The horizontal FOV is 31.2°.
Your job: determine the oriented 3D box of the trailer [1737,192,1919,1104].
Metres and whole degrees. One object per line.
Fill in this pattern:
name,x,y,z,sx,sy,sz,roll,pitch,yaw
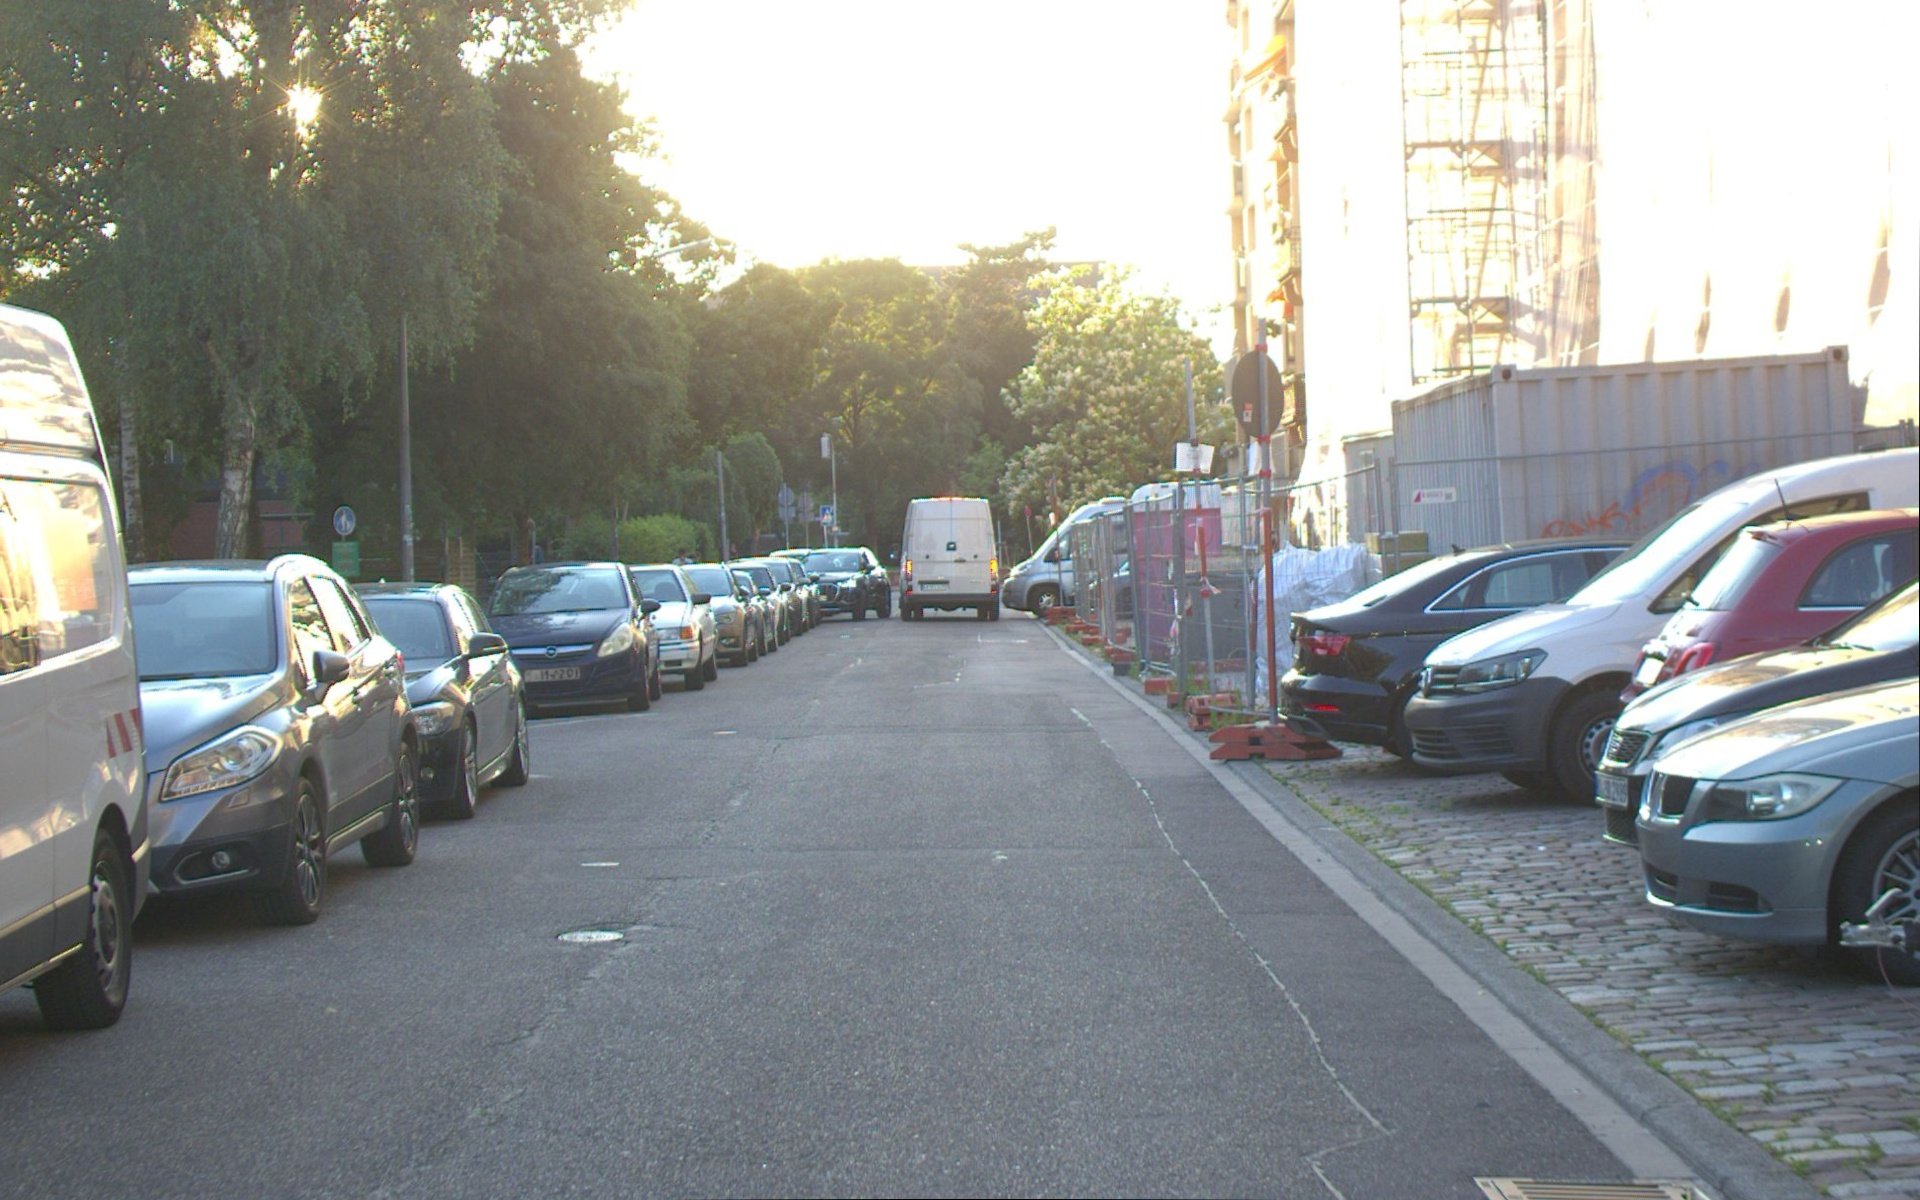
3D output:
trailer,4.187,0.030,9.263,3.566,2.329,1.941,-4,1,-3

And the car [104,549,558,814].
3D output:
car,-3.779,0.426,21.421,1.993,1.448,4.288,-1,1,0

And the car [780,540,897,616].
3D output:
car,-2.625,-0.499,75.381,1.805,1.564,4.564,-2,1,7

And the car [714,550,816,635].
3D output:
car,-3.673,-0.170,65.445,1.715,1.491,4.361,-3,1,-1

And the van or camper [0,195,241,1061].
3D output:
van or camper,-3.717,0.085,9.920,1.993,2.448,6.083,-1,1,0

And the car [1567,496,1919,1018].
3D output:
car,4.302,0.439,11.883,3.986,1.632,1.903,-1,1,-3

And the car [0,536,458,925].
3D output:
car,-3.699,0.480,15.925,1.993,1.514,4.789,-1,1,0

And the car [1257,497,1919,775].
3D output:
car,4.044,0.201,21.877,4.153,1.610,1.872,-1,1,2

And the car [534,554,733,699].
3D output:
car,-3.671,0.251,39.392,1.782,1.440,4.749,-4,1,-1

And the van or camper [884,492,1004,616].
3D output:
van or camper,-0.326,-1.010,74.377,2.453,2.538,6.083,1,1,0

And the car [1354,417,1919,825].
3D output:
car,4.556,0.023,19.166,4.265,1.973,1.822,-4,2,-7

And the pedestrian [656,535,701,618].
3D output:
pedestrian,-6.297,-0.527,76.925,0.937,1.824,0.787,0,1,-1

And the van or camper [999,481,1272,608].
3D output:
van or camper,3.856,-1.228,76.239,5.928,2.760,2.110,0,1,-1

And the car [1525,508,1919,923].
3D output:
car,4.503,0.395,14.186,3.963,1.566,1.789,-1,1,-3

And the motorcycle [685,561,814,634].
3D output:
motorcycle,-3.811,-0.047,62.253,2.165,1.299,0.879,0,1,14

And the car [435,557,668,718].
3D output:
car,-3.959,0.324,33.889,1.993,1.448,4.001,-1,1,-3

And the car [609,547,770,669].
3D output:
car,-3.716,0.071,47.990,1.860,1.532,4.759,-2,1,-1

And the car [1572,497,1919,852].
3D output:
car,5.015,0.300,16.732,3.691,1.605,1.745,-1,1,-2

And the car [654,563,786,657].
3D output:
car,-3.679,0.123,53.279,1.659,1.309,4.155,-3,1,1

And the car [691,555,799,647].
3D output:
car,-3.665,-0.008,59.038,1.601,1.426,3.804,-4,1,-1
